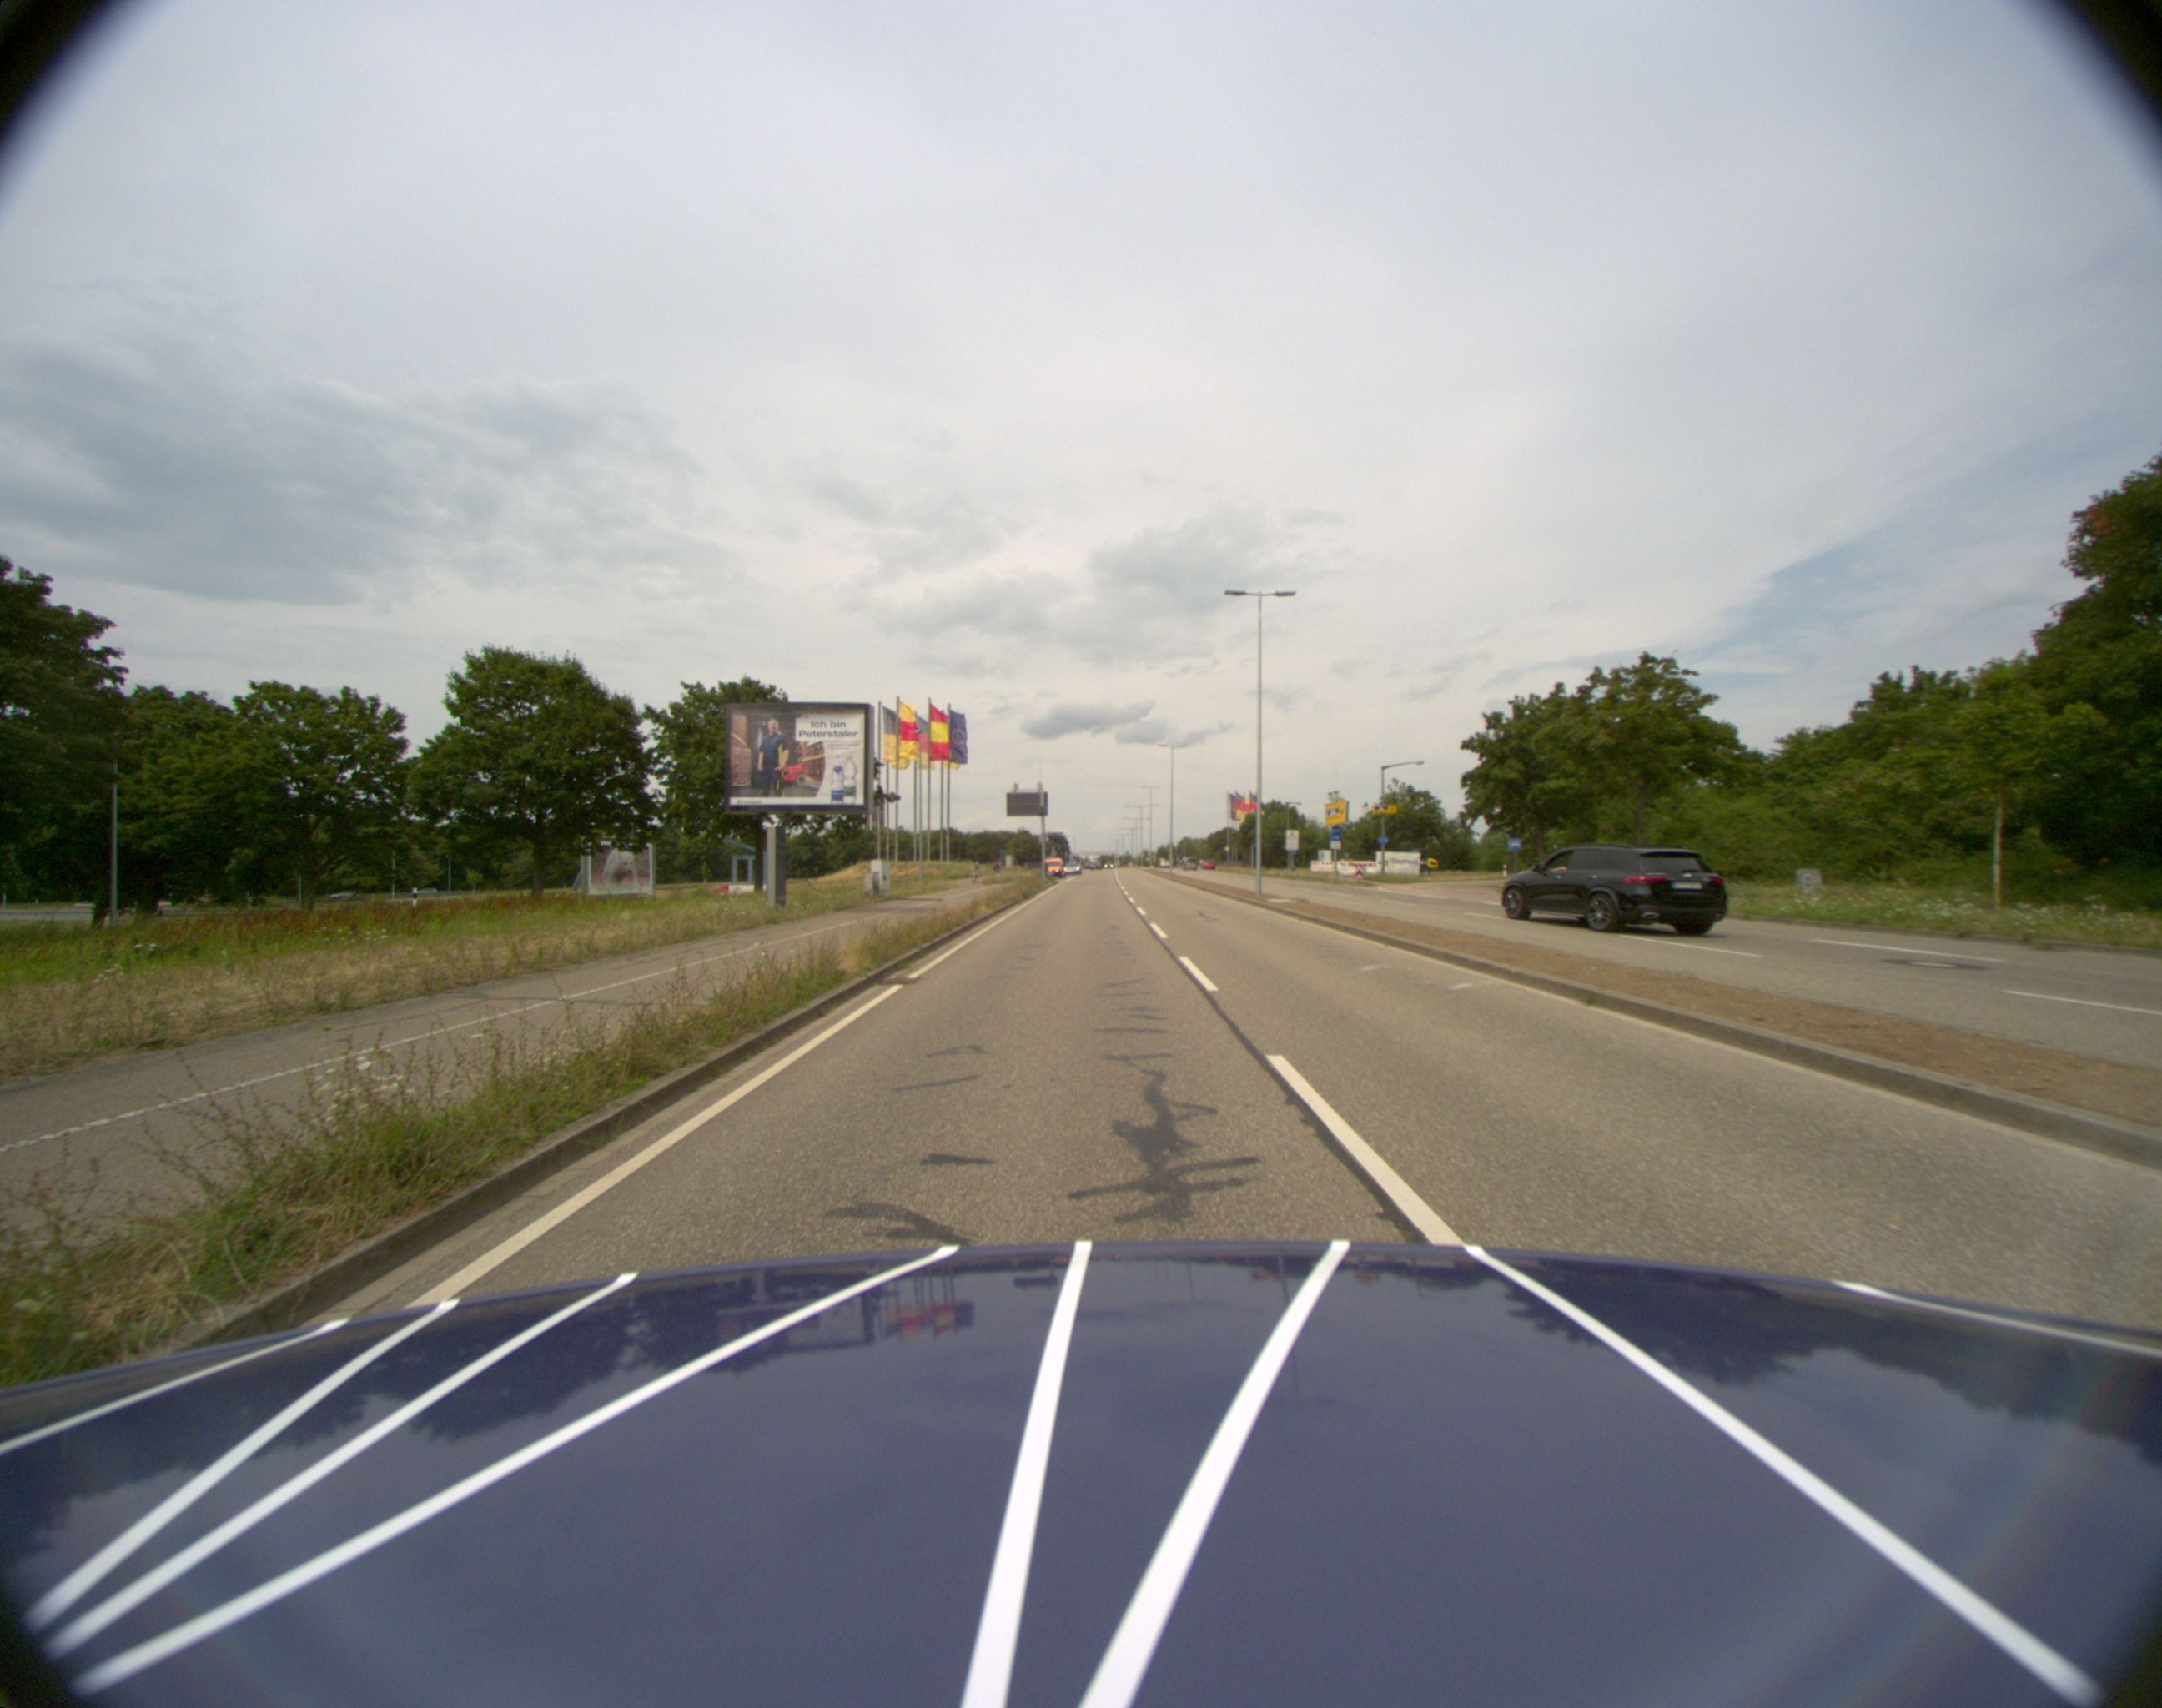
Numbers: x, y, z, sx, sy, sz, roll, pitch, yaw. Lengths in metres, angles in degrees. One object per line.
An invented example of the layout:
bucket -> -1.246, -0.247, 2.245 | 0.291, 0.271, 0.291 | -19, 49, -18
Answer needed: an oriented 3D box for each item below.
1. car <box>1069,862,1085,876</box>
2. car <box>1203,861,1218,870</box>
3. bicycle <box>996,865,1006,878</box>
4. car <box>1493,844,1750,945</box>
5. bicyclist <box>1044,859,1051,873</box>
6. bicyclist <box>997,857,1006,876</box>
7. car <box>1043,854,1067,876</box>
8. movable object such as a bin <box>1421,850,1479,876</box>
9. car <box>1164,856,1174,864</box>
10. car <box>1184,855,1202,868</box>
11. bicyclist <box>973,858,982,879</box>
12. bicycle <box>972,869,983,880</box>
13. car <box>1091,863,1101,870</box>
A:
car -> -0.465, 1.602, 81.305 | 1.695, 1.403, 3.684 | -2, -1, -1
car -> 19.824, 1.718, 116.379 | 1.758, 1.314, 4.348 | -1, -1, 3
bicycle -> -7.436, 1.608, 70.914 | 0.695, 1.185, 2.461 | 0, -1, 0
car -> 11.026, 0.785, 16.062 | 1.999, 1.800, 4.798 | 0, -1, 0
bicyclist -> -4.532, 1.629, 102.847 | 0.873, 1.792, 0.956 | -1, 3, -5
bicyclist -> -7.422, 1.202, 70.939 | 0.705, 1.745, 0.991 | 0, 0, 0
car -> -2.341, 1.015, 68.903 | 1.892, 1.824, 4.431 | -2, -1, 1
movable object such as a bin -> 34.512, 0.869, 71.114 | 4.593, 2.382, 1.999 | -1, -1, -9
car -> 18.438, 1.323, 159.734 | 1.698, 1.619, 4.385 | -1, -1, 2
car -> 15.678, 1.045, 106.924 | 1.907, 1.798, 4.541 | -1, -1, 1
bicyclist -> -8.489, 1.191, 62.239 | 0.623, 1.656, 0.669 | 2, -1, 0
bicycle -> -8.508, 1.661, 62.602 | 0.625, 0.883, 2.154 | -1, 0, 0
car -> 2.503, 2.066, 125.735 | 1.558, 1.229, 3.470 | -2, -1, 1
